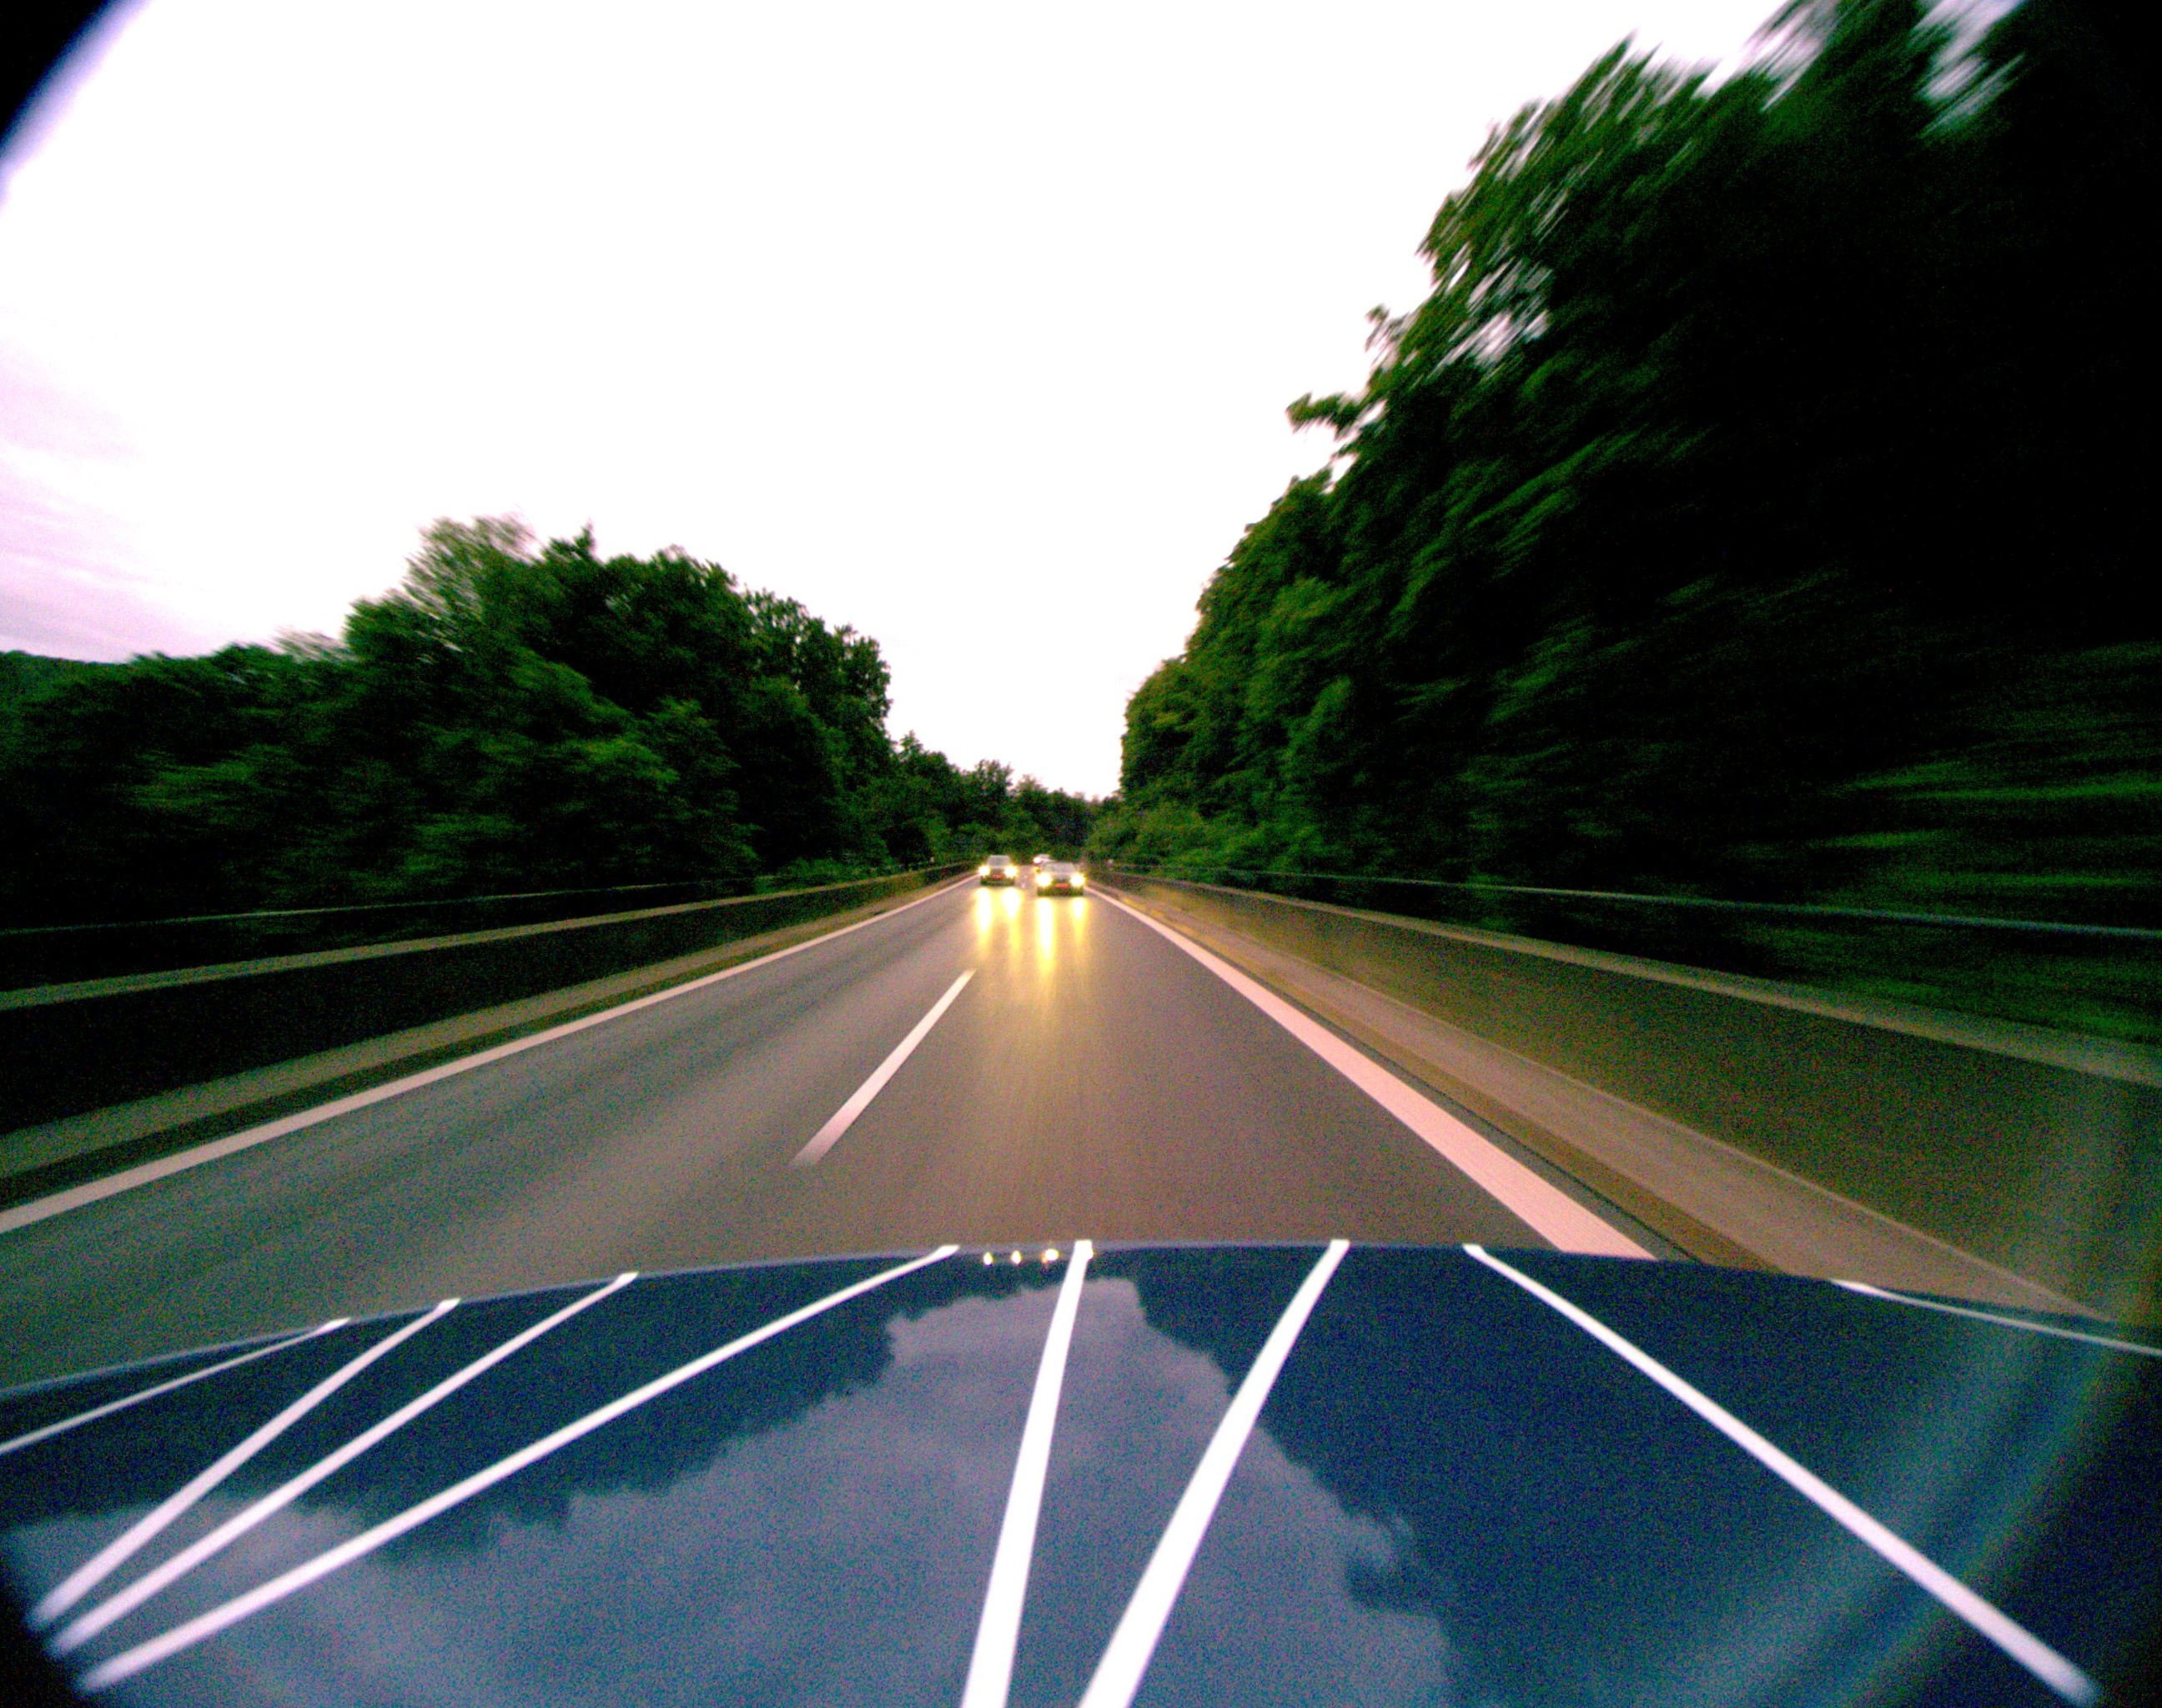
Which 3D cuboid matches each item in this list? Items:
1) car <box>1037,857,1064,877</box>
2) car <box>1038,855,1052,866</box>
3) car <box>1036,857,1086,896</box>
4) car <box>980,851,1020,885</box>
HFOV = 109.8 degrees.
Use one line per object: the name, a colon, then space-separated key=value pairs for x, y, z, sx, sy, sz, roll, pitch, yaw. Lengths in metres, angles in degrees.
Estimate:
car: x=-2.414 y=1.026 z=61.403 sx=1.999 sy=1.499 sz=3.999 roll=2 pitch=1 yaw=-1
car: x=-5.602 y=0.958 z=118.359 sx=1.998 sy=1.608 sz=4.000 roll=4 pitch=0 yaw=0
car: x=-0.838 y=0.930 z=32.598 sx=1.999 sy=1.499 sz=3.999 roll=2 pitch=0 yaw=-1
car: x=-4.525 y=0.762 z=43.102 sx=1.999 sy=1.630 sz=3.998 roll=3 pitch=1 yaw=-3
